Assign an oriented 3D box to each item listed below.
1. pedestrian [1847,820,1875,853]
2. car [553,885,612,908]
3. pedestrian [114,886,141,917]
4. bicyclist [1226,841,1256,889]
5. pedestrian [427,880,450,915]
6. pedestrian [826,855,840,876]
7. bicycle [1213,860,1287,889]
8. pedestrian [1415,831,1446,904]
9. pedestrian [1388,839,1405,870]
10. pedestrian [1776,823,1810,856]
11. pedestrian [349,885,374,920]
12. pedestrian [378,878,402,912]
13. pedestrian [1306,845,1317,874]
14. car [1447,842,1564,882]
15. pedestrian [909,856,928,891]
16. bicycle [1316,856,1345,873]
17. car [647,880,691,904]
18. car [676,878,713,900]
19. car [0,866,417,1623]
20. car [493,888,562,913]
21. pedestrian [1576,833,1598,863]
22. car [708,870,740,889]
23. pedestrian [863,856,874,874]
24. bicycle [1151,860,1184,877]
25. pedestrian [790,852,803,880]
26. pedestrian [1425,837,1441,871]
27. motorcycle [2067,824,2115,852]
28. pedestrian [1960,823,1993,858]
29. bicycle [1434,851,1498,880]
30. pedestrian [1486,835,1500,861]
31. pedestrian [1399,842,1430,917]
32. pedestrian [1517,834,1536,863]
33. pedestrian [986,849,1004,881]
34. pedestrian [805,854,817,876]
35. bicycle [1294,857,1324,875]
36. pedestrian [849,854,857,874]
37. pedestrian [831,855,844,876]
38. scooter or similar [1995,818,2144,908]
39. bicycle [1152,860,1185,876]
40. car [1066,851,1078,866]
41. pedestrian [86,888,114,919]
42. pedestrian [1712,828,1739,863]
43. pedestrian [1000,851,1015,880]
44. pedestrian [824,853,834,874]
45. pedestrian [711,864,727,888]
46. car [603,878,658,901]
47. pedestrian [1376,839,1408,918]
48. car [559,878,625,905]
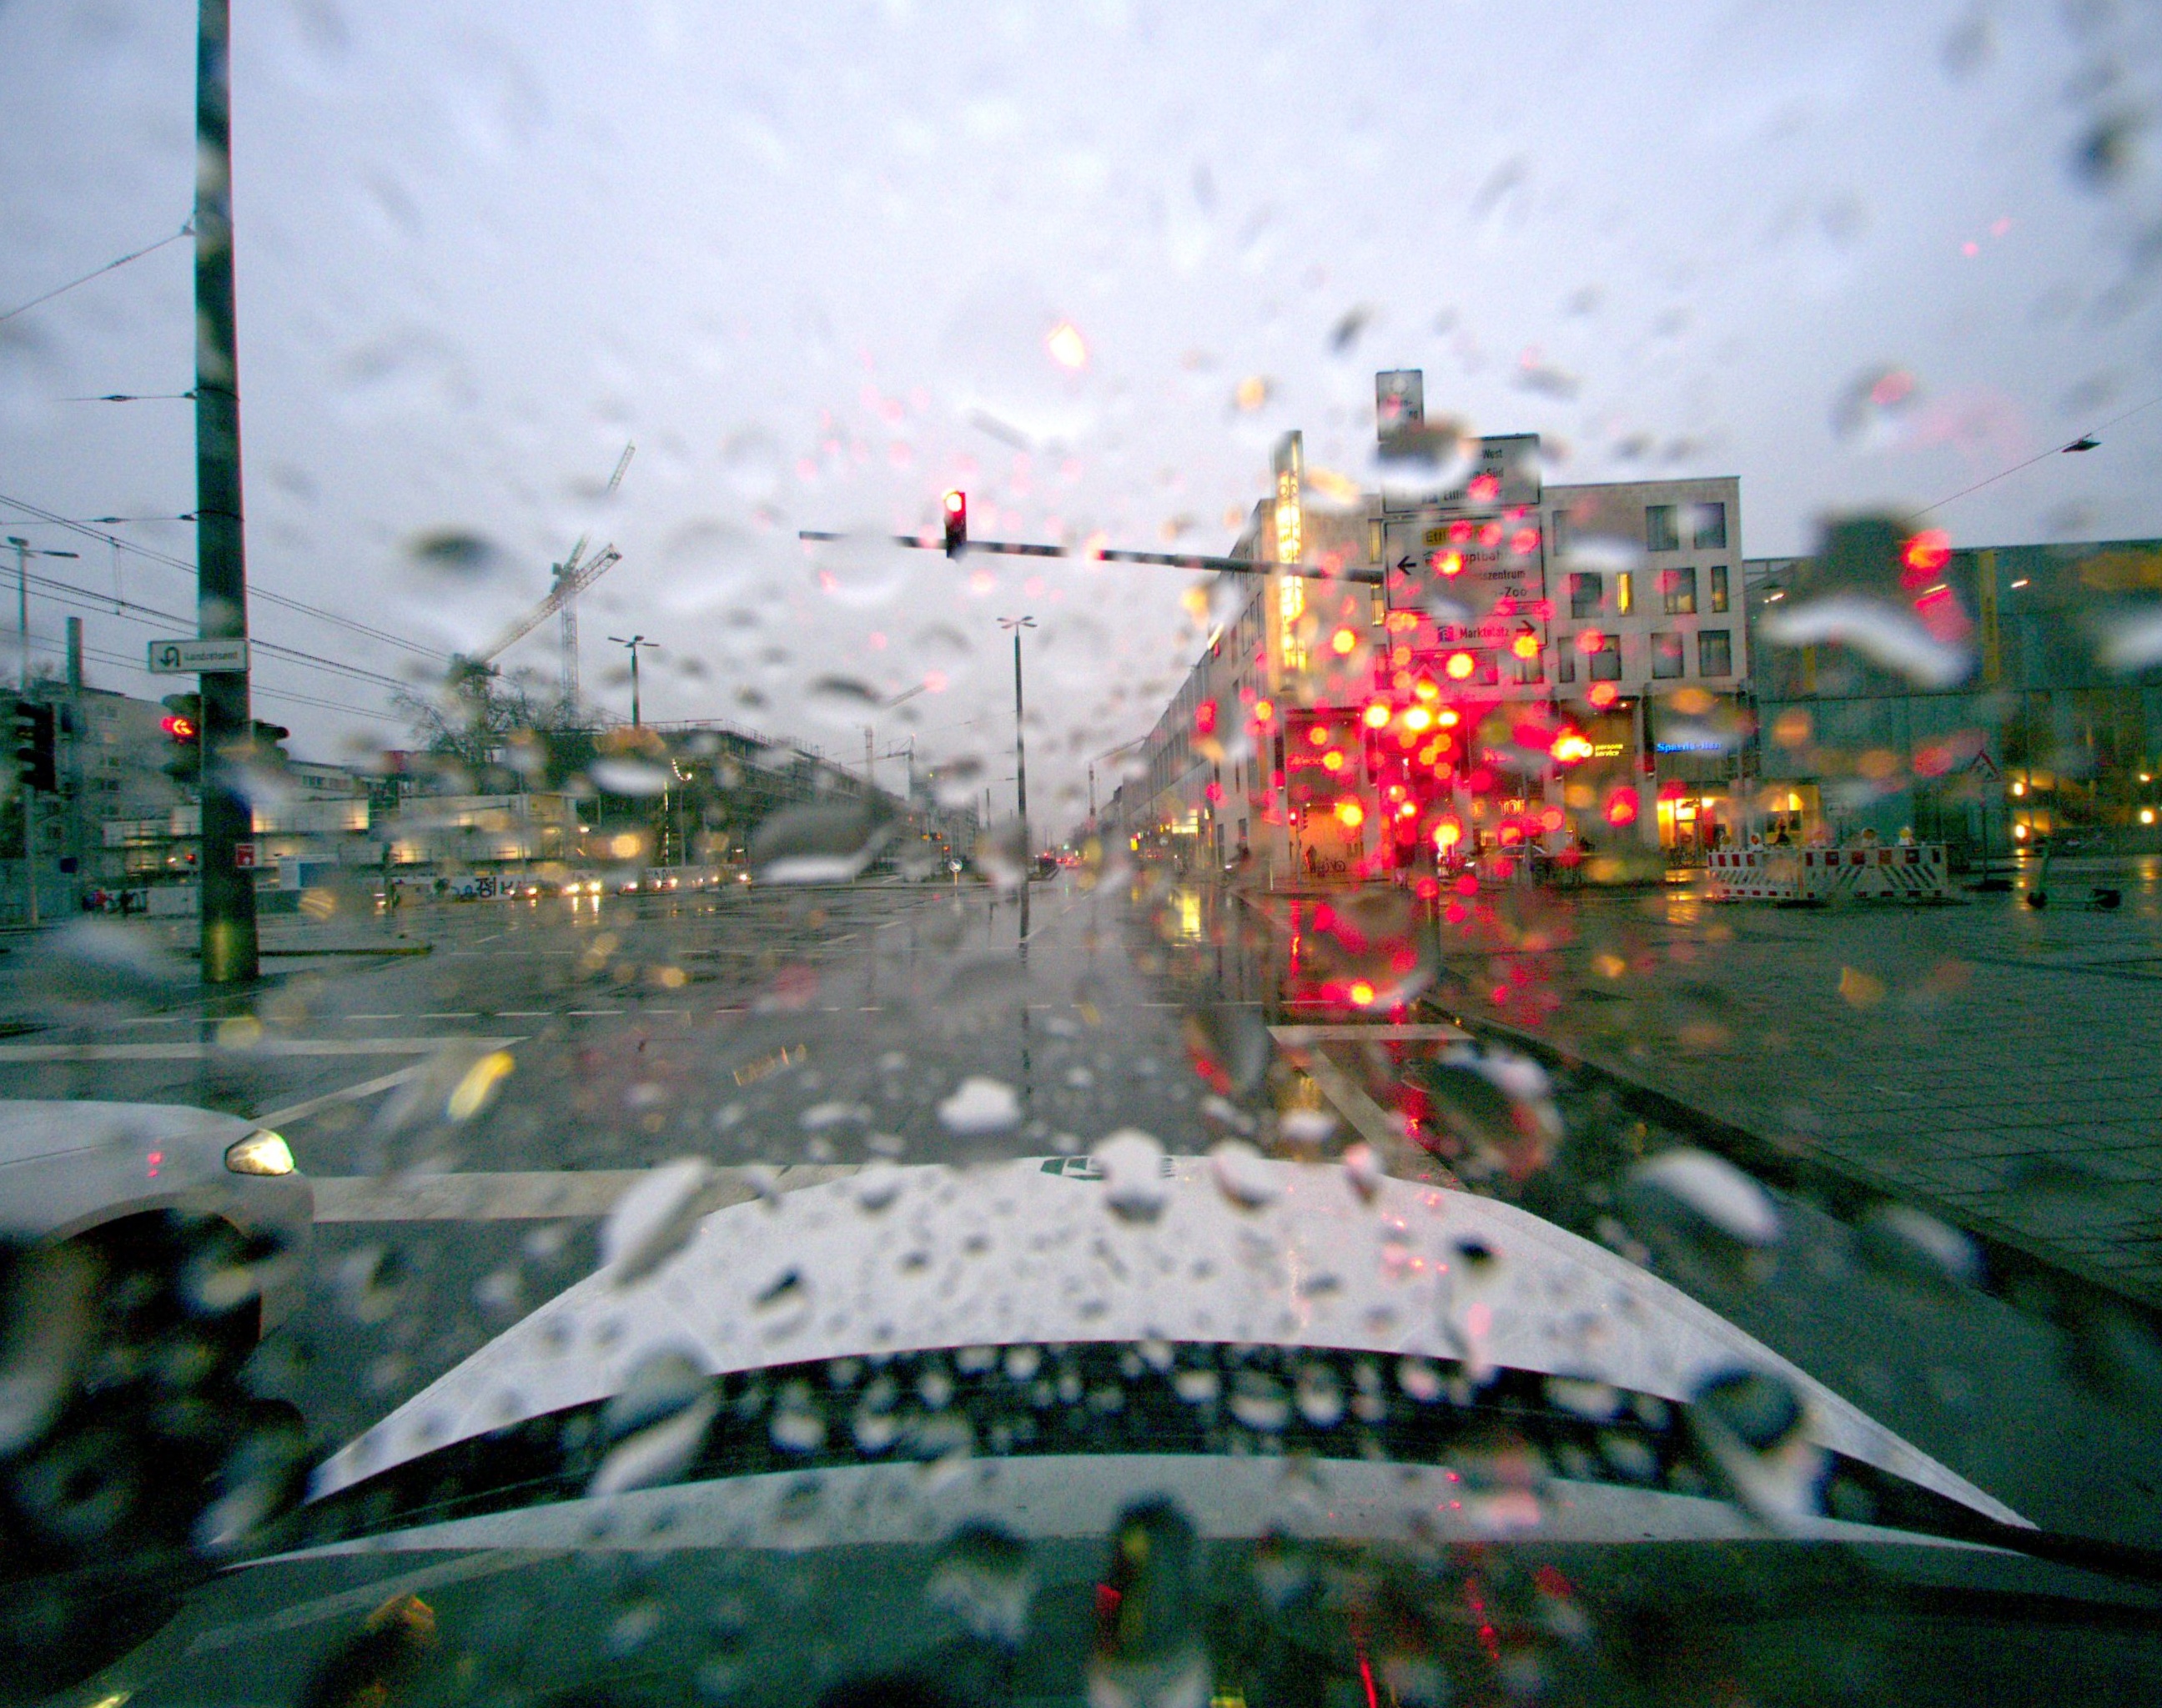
[{"bbox_3d":[42.672,-0.947,44.561,0.782,1.739,0.779,-3,-1,17],"label":"pedestrian"},{"bbox_3d":[-38.938,3.301,63.689,1.986,1.530,4.001,-2,0,2],"label":"car"},{"bbox_3d":[-59.687,2.955,50.983,0.788,1.902,0.717,-2,-1,0],"label":"pedestrian"},{"bbox_3d":[6.319,0.430,32.207,1.149,1.871,0.747,-1,-1,9],"label":"bicyclist"},{"bbox_3d":[-40.591,2.749,51.469,0.872,2.165,0.763,0,-1,-7],"label":"pedestrian"},{"bbox_3d":[-23.610,1.085,77.607,0.939,2.014,1.094,0,-1,0],"label":"pedestrian"},{"bbox_3d":[6.641,0.813,32.158,2.839,1.099,0.747,0,-1,9],"label":"bicycle"},{"bbox_3d":[11.779,0.452,27.471,0.691,2.448,0.792,0,-1,1],"label":"pedestrian"},{"bbox_3d":[20.379,0.029,52.577,0.841,2.013,0.700,-2,0,10],"label":"pedestrian"},{"bbox_3d":[36.688,-0.728,41.971,1.026,1.684,0.824,0,-1,1],"label":"pedestrian"},{"bbox_3d":[-42.629,2.878,48.264,0.860,2.014,0.625,0,-1,-3],"label":"pedestrian"},{"bbox_3d":[-41.631,2.491,49.099,0.781,2.014,0.748,0,-1,6],"label":"pedestrian"},{"bbox_3d":[14.022,0.351,49.491,0.596,1.745,0.526,-1,-1,10],"label":"pedestrian"},{"bbox_3d":[17.942,0.353,34.577,3.970,1.618,2.001,0,-1,3],"label":"car"},{"bbox_3d":[-9.530,1.156,47.780,0.776,2.014,0.732,-1,-1,44],"label":"pedestrian"},{"bbox_3d":[15.486,0.657,50.581,1.642,1.070,0.524,0,-1,-2],"label":"bicycle"},{"bbox_3d":[-34.588,3.138,68.480,1.862,1.828,3.993,0,-1,-5],"label":"car"},{"bbox_3d":[-35.015,3.129,73.914,1.993,1.790,3.987,0,-1,-9],"label":"car"},{"bbox_3d":[-3.198,0.811,0.330,2.010,1.487,4.561,-2,0,1],"label":"car"},{"bbox_3d":[-38.589,3.220,56.922,1.986,1.530,4.001,-2,0,2],"label":"car"},{"bbox_3d":[29.340,-0.354,47.220,0.890,1.684,0.528,-2,-1,1],"label":"pedestrian"},{"bbox_3d":[-35.244,2.471,80.459,1.993,1.790,3.987,0,-1,-9],"label":"car"},{"bbox_3d":[-23.938,1.204,91.919,0.939,2.014,1.094,0,-1,0],"label":"pedestrian"},{"bbox_3d":[6.525,1.094,61.397,2.434,1.154,0.674,-2,-1,0],"label":"bicycle"},{"bbox_3d":[-24.259,1.015,69.410,0.762,2.323,0.763,0,-2,1],"label":"pedestrian"},{"bbox_3d":[21.489,-0.003,49.732,0.785,2.014,0.595,-3,-1,21],"label":"pedestrian"},{"bbox_3d":[48.264,-0.757,38.918,1.482,1.352,0.595,0,0,5],"label":"motorcycle"},{"bbox_3d":[43.905,-0.658,39.946,0.737,1.684,0.783,-1,-1,8],"label":"pedestrian"},{"bbox_3d":[19.253,0.579,40.781,2.705,1.359,0.957,-2,-1,-2],"label":"bicycle"},{"bbox_3d":[28.029,-0.421,55.412,0.728,1.718,0.743,-3,-1,29],"label":"pedestrian"},{"bbox_3d":[11.002,0.828,26.871,0.687,2.441,0.758,0,-1,1],"label":"pedestrian"},{"bbox_3d":[26.674,-0.310,48.751,0.737,1.684,0.783,-1,-1,8],"label":"pedestrian"},{"bbox_3d":[-4.942,0.646,46.829,0.826,1.831,0.778,0,-1,-29],"label":"pedestrian"},{"bbox_3d":[-23.205,0.972,70.025,0.762,1.898,0.763,0,-2,1],"label":"pedestrian"},{"bbox_3d":[13.998,0.722,50.040,1.756,1.070,0.526,-1,-1,9],"label":"bicycle"},{"bbox_3d":[-22.832,1.018,81.621,0.569,1.968,0.664,1,-1,-4],"label":"pedestrian"},{"bbox_3d":[-23.753,1.100,79.342,0.939,2.014,1.094,0,-1,0],"label":"pedestrian"},{"bbox_3d":[15.727,0.135,13.009,0.590,1.352,1.495,0,0,2],"label":"scooter or similar"},{"bbox_3d":[6.735,1.065,62.446,2.417,1.099,0.712,-2,-1,0],"label":"bicycle"},{"bbox_3d":[-1.235,0.583,114.447,1.572,2.013,3.170,-2,0,0],"label":"car"},{"bbox_3d":[-59.883,3.015,49.720,0.786,1.776,0.726,-2,-1,8],"label":"pedestrian"},{"bbox_3d":[32.053,-0.417,40.510,0.737,1.684,0.783,-1,-1,8],"label":"pedestrian"},{"bbox_3d":[-4.348,0.686,48.264,0.605,1.686,0.581,-1,-1,44],"label":"pedestrian"},{"bbox_3d":[-22.550,0.882,72.748,0.696,1.881,0.553,0,-1,1],"label":"pedestrian"},{"bbox_3d":[-21.320,1.277,47.939,0.734,1.388,0.716,0,-1,-40],"label":"pedestrian"},{"bbox_3d":[-34.277,2.645,62.070,2.074,1.530,4.603,-2,0,-8],"label":"car"},{"bbox_3d":[9.824,0.769,25.731,0.712,2.441,0.758,0,-1,1],"label":"pedestrian"},{"bbox_3d":[-33.674,2.556,56.218,1.986,1.657,4.001,-2,0,2],"label":"car"}]
